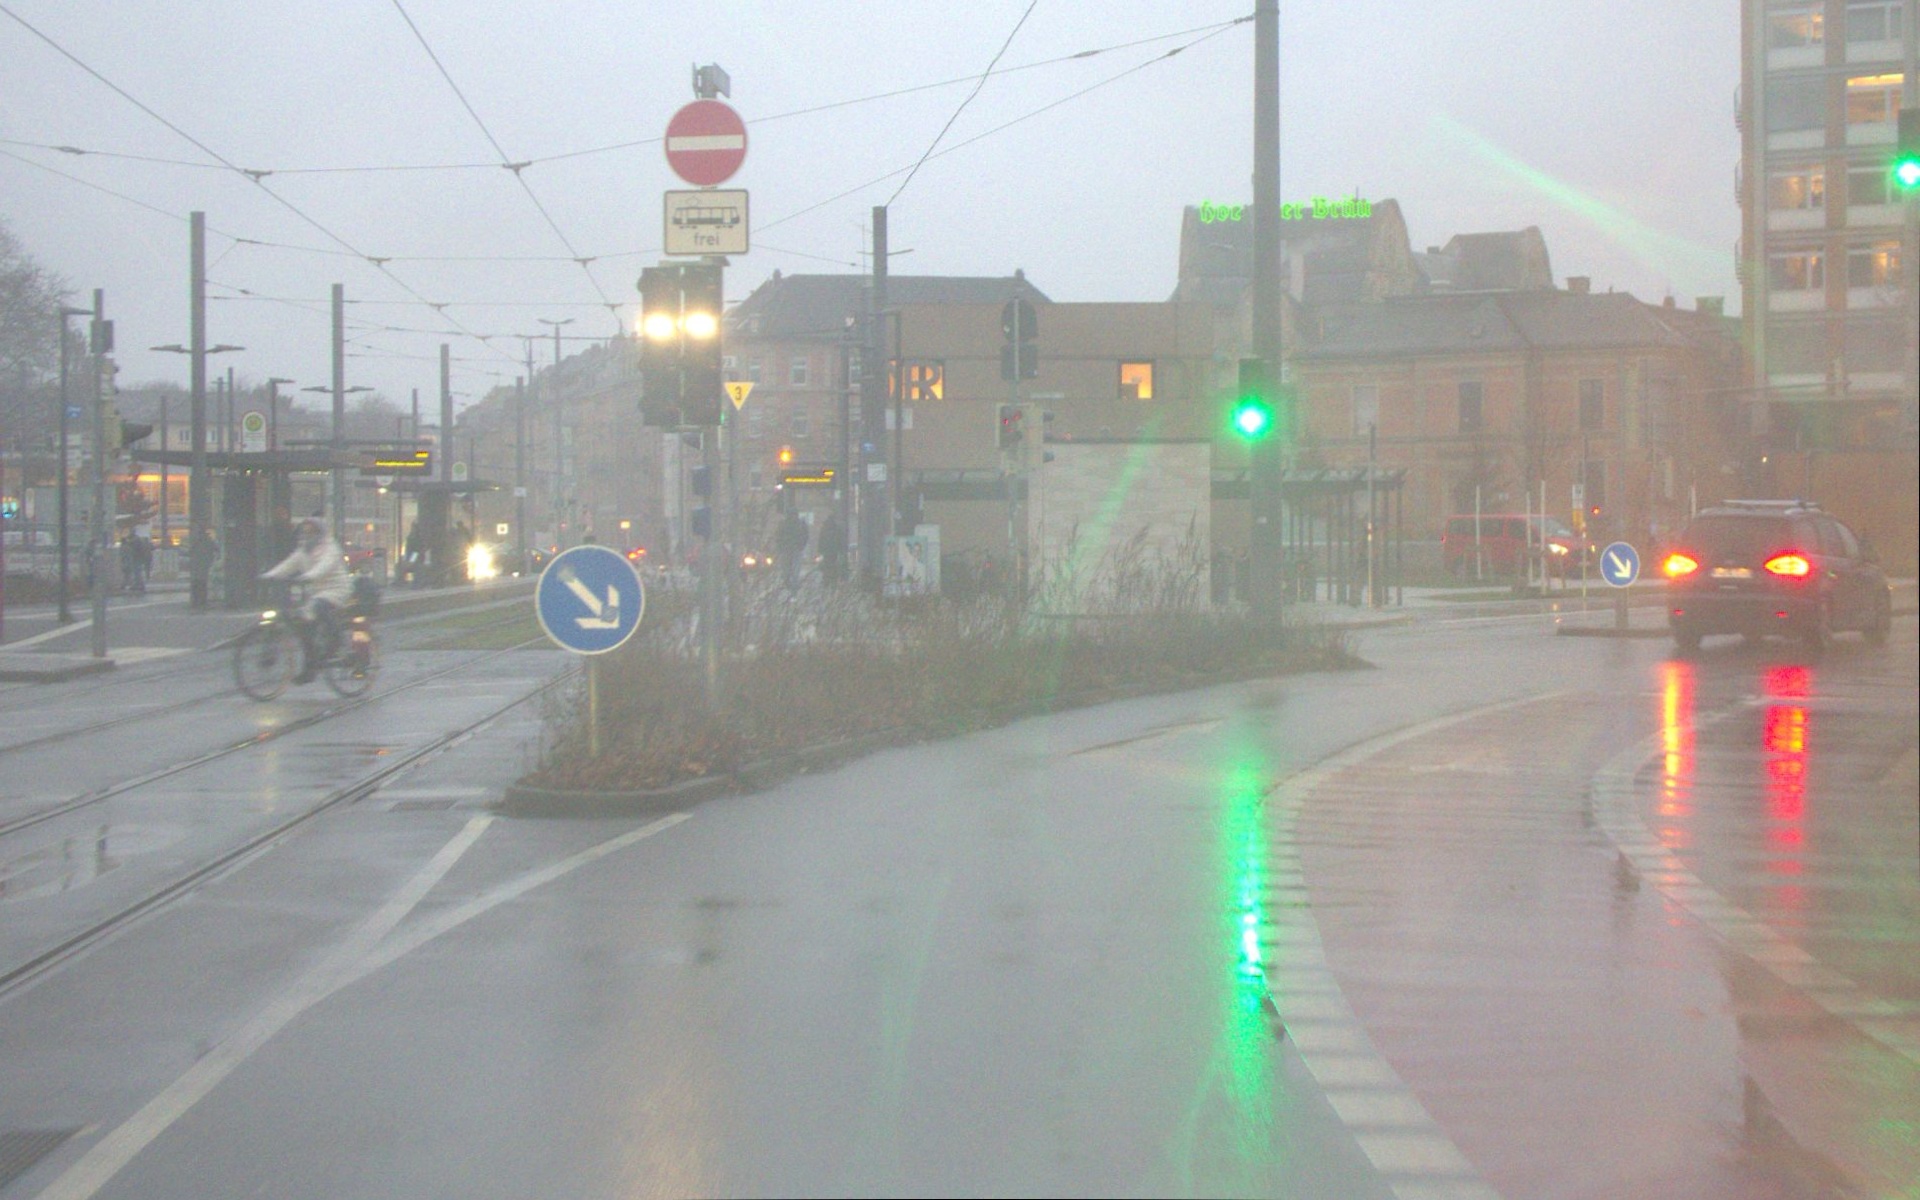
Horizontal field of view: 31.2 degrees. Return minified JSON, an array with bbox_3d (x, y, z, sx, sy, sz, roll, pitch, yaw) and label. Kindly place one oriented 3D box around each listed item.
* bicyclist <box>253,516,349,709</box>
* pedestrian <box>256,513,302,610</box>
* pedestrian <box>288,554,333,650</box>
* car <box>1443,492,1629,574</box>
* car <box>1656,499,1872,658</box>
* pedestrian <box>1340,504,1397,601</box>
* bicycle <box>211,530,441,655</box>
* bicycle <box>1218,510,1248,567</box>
[{"bbox_3d":[-6.144,0.113,32.045,0.611,1.762,0.588,2,1,42],"label":"bicyclist"},{"bbox_3d":[-12.458,-0.700,62.886,0.712,1.751,0.717,1,1,-2],"label":"pedestrian"},{"bbox_3d":[-12.296,0.031,65.087,0.712,1.800,0.717,1,1,-2],"label":"pedestrian"},{"bbox_3d":[16.795,-1.966,100.507,2.252,2.273,5.036,1,1,-41],"label":"car"},{"bbox_3d":[10.047,-0.320,42.775,1.649,1.812,3.994,2,3,27],"label":"car"},{"bbox_3d":[7.130,-0.827,60.056,0.674,1.668,0.729,2,1,36],"label":"pedestrian"},{"bbox_3d":[-5.933,-0.092,32.298,0.627,1.070,2.204,2,4,41],"label":"bicycle"},{"bbox_3d":[5.680,-1.267,71.571,0.549,1.161,1.899,1,1,3],"label":"bicycle"}]
